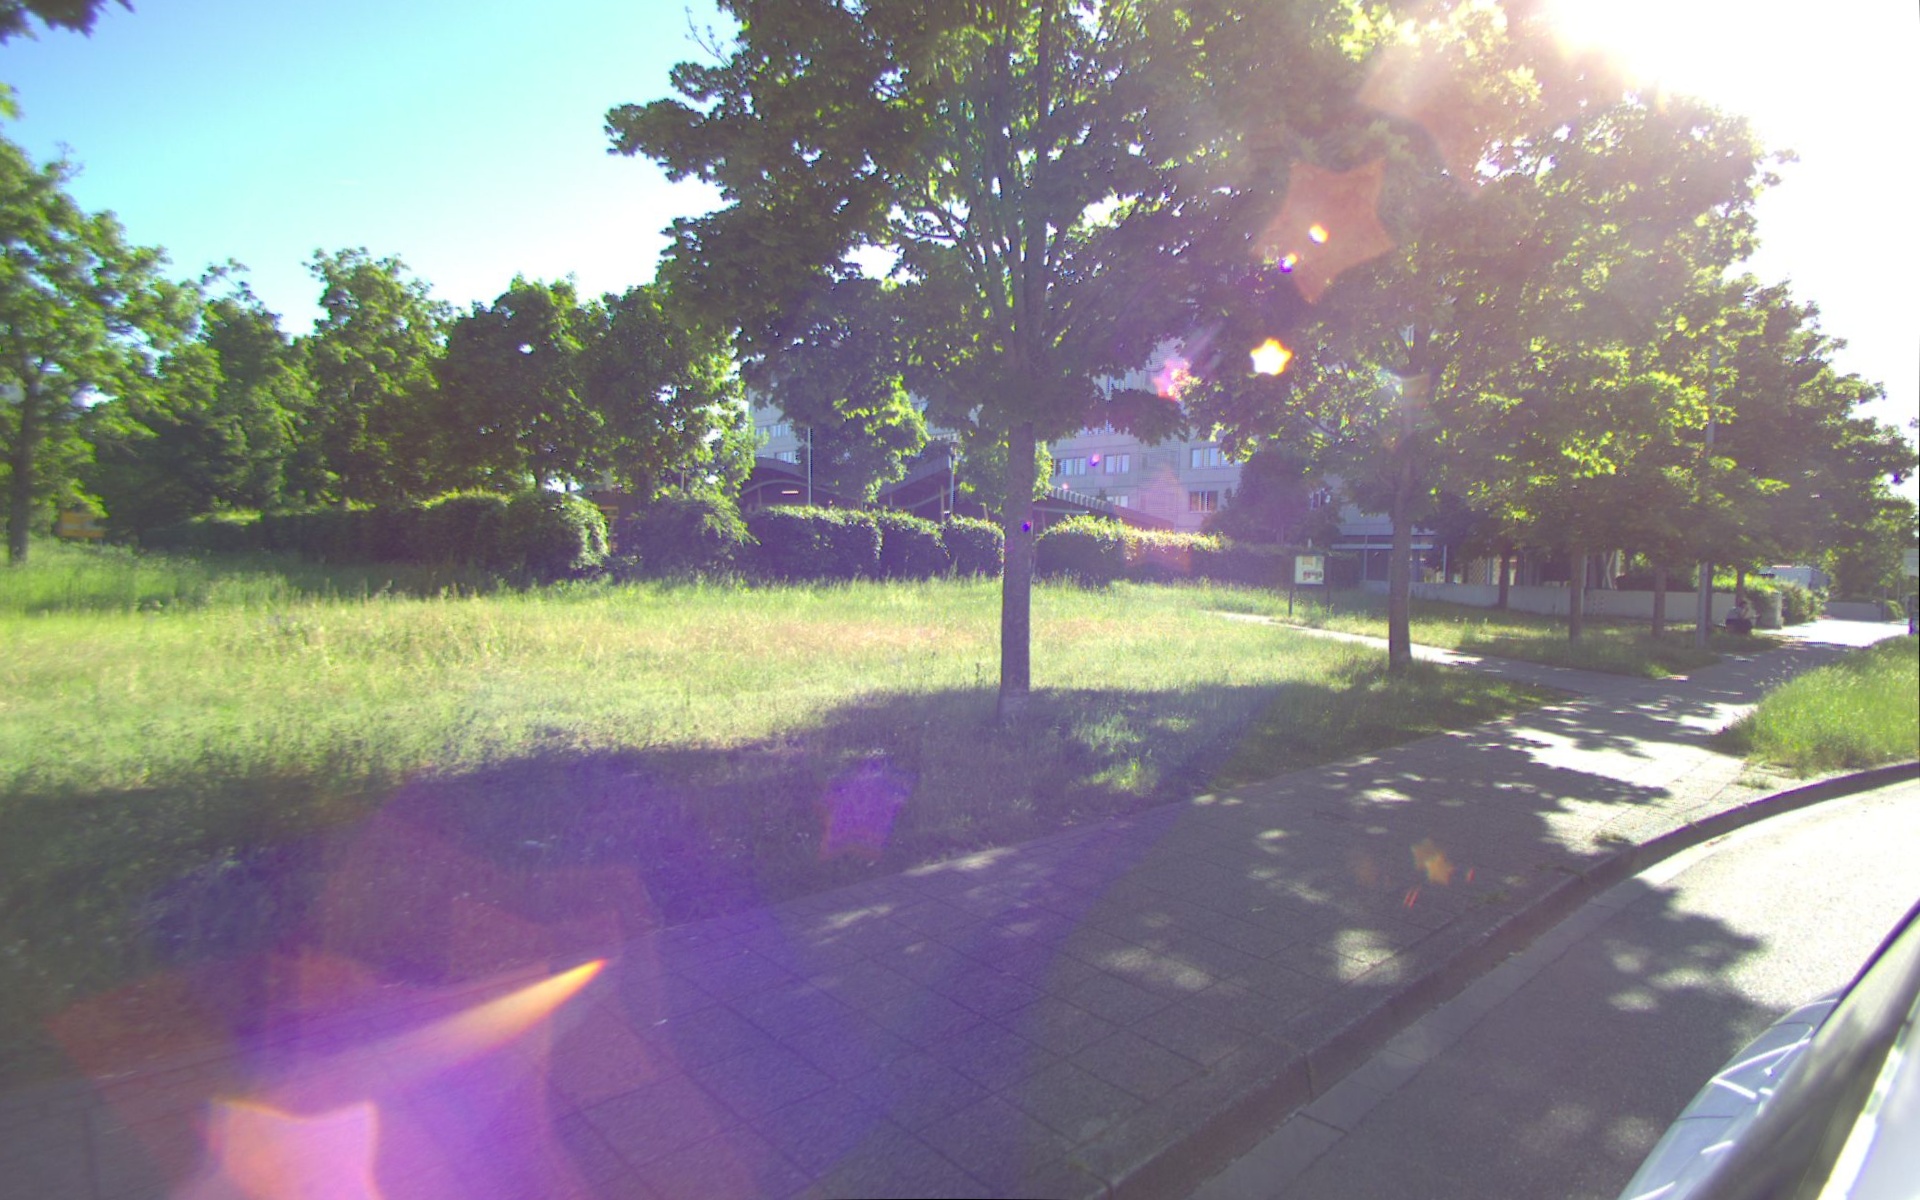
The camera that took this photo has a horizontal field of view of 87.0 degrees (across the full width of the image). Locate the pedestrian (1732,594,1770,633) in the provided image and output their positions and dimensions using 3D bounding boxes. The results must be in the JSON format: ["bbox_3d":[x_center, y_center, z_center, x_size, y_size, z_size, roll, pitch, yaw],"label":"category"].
[{"bbox_3d":[25.994,0.435,33.263,0.841,1.232,0.720,4,3,33],"label":"pedestrian"}]
